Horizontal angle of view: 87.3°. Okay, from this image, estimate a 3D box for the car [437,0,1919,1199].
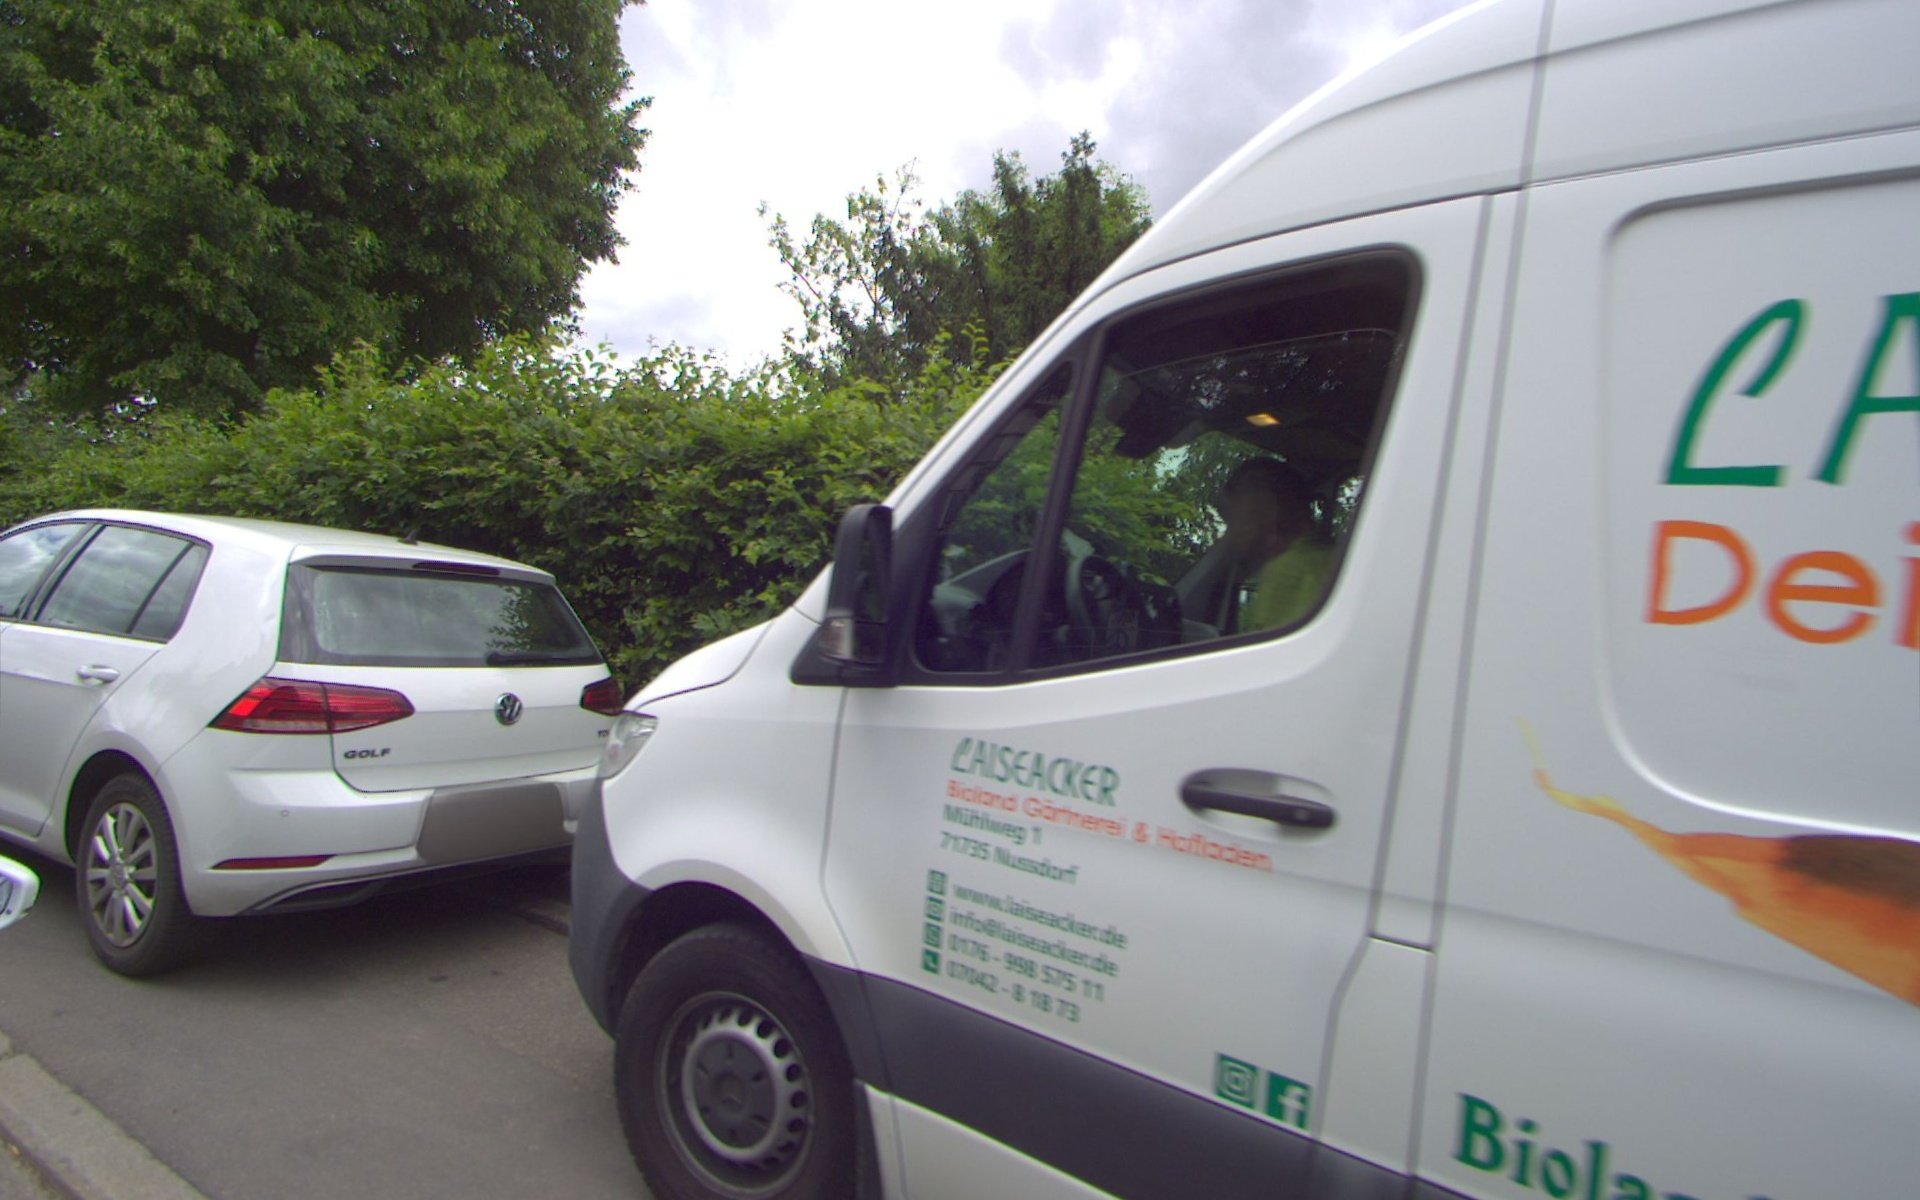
[{"bbox_3d":[1.676,0.367,1.839,5.752,2.555,2.084,6,0,35],"label":"car"}]

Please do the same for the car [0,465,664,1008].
[{"bbox_3d":[-3.393,0.293,4.430,3.768,1.482,1.704,6,-1,27],"label":"car"}]

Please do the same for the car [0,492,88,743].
[{"bbox_3d":[-7.926,-0.153,6.418,4.579,1.481,1.706,6,-1,24],"label":"car"}]
